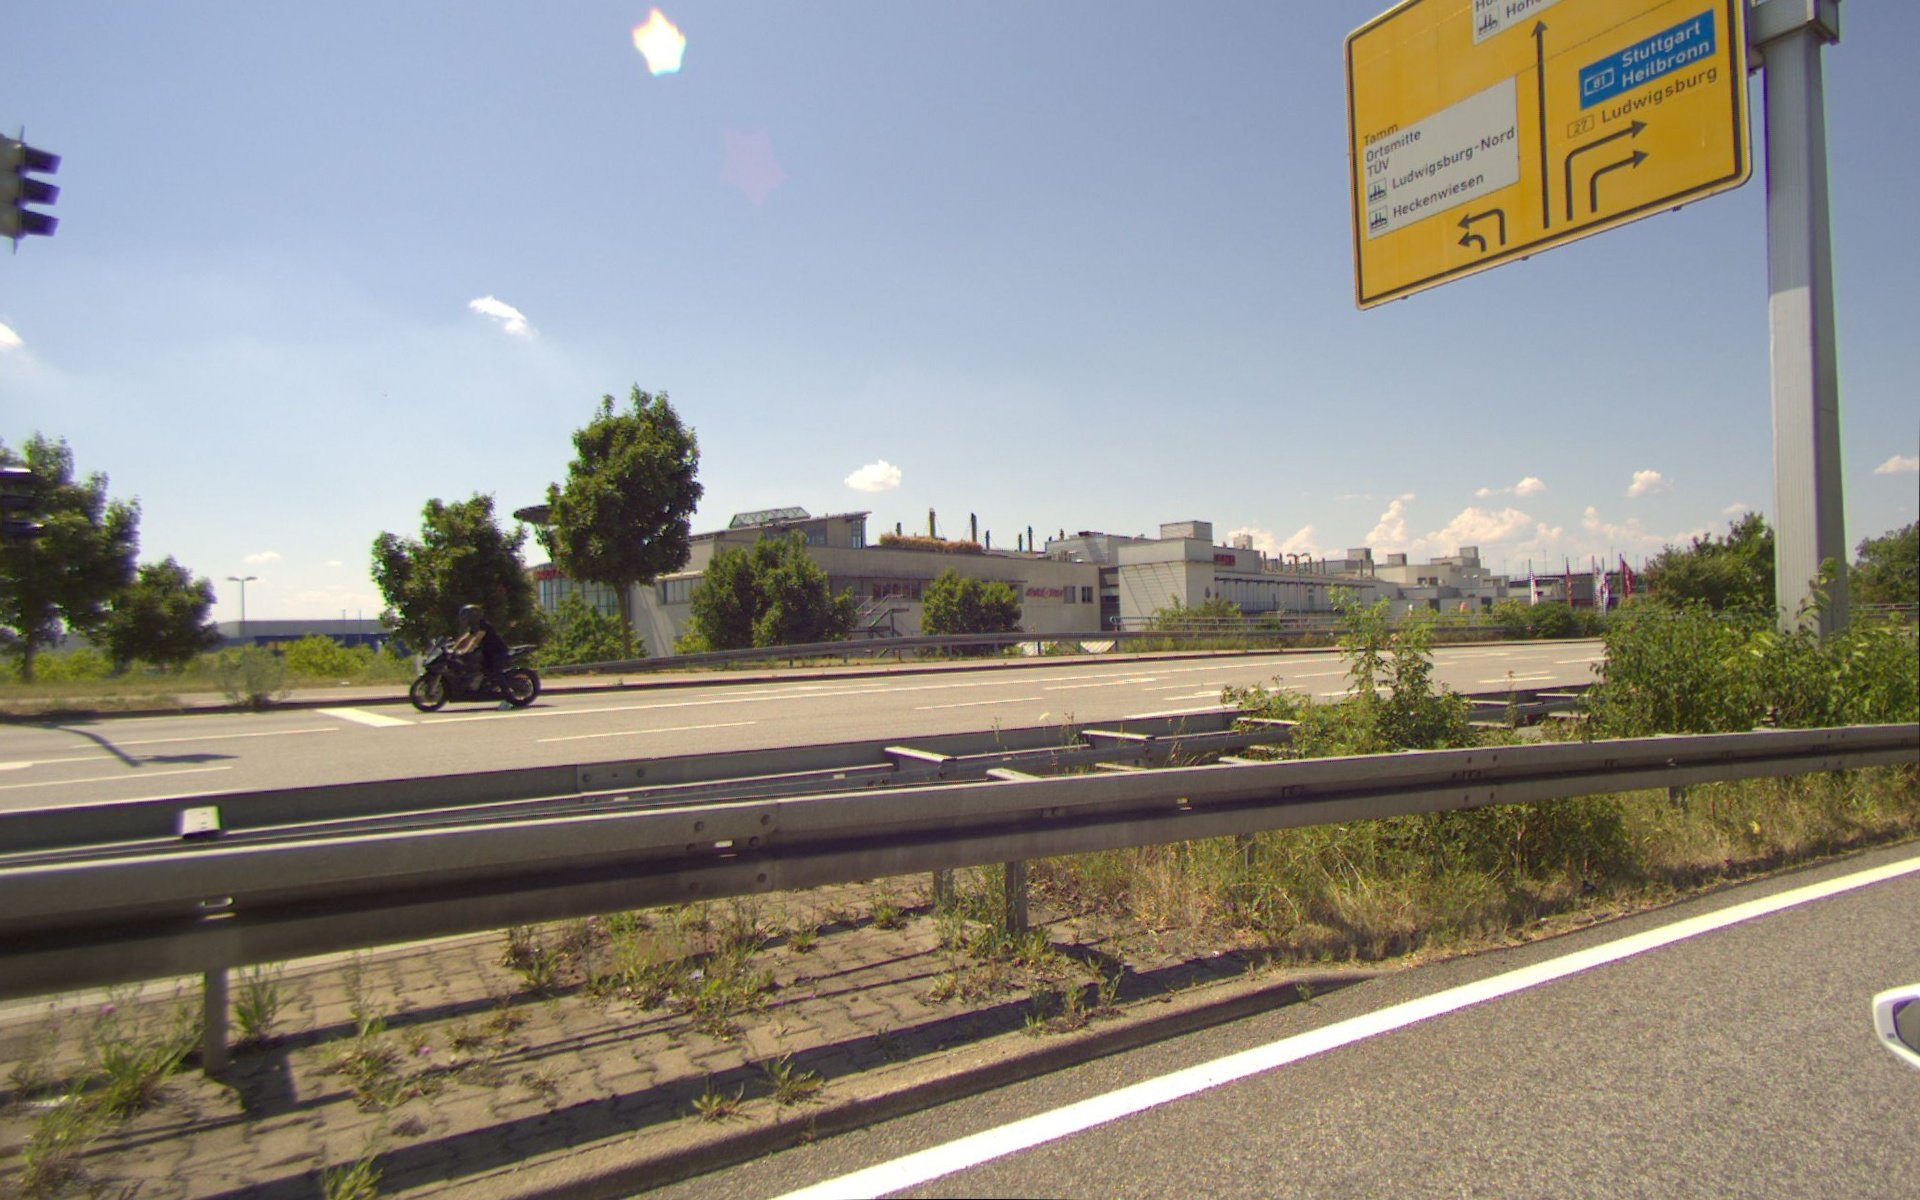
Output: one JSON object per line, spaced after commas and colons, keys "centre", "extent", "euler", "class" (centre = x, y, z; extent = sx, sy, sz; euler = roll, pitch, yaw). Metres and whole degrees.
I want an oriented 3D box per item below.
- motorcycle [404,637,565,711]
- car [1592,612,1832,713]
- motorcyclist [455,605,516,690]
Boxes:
{"centre": [-7.557, 1.153, 16.055], "extent": [2.269, 1.094, 0.557], "euler": [1, -3, -44], "class": "motorcycle"}
{"centre": [13.190, 1.035, 17.545], "extent": [4.680, 1.565, 1.722], "euler": [1, -3, -31], "class": "car"}
{"centre": [-7.586, 0.766, 16.050], "extent": [0.718, 1.319, 0.668], "euler": [1, -4, -43], "class": "motorcyclist"}
